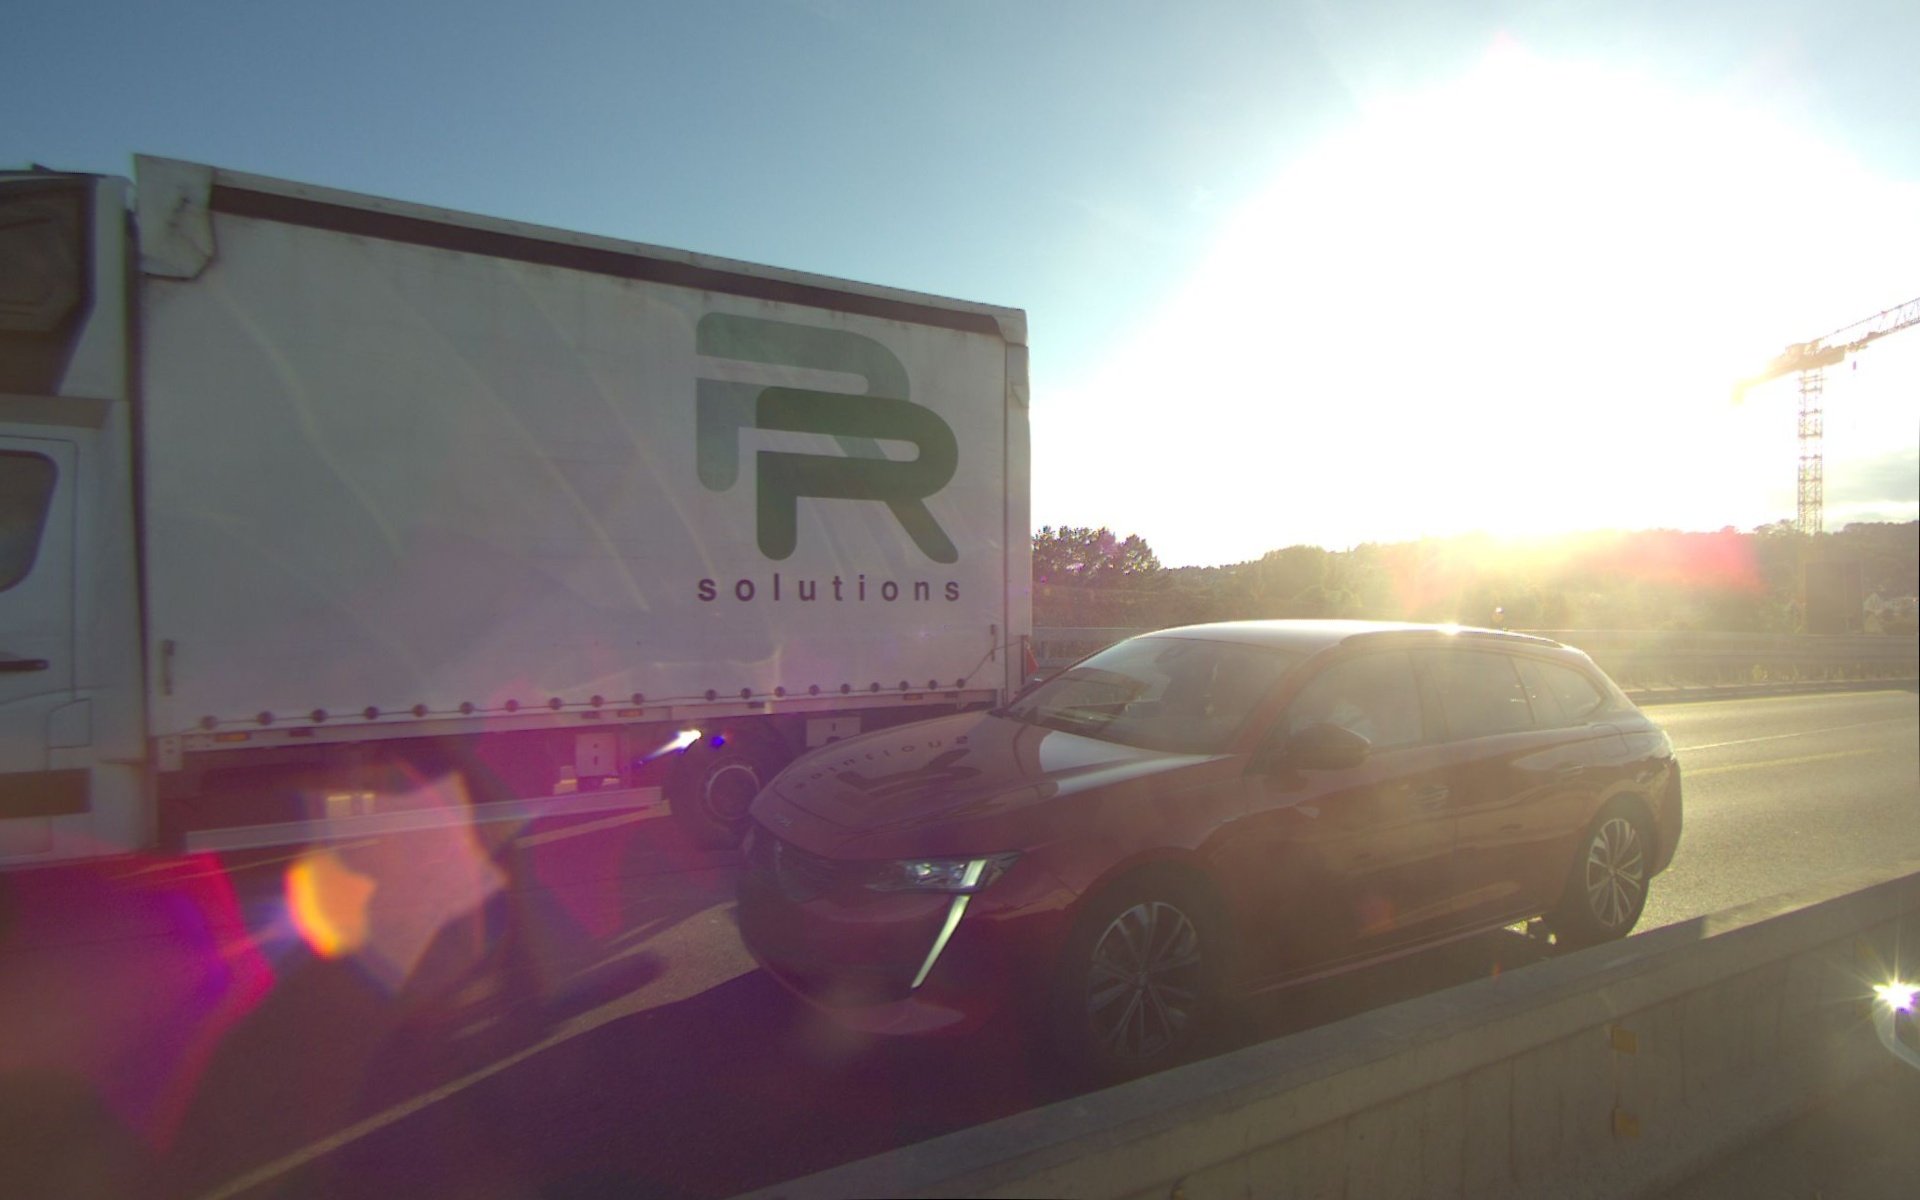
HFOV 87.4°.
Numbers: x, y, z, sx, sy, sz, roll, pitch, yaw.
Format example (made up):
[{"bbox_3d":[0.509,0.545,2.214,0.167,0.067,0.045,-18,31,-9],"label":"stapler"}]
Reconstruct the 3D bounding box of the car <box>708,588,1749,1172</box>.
[{"bbox_3d":[1.424,0.756,4.532,4.651,1.482,1.806,2,0,-31],"label":"car"}]

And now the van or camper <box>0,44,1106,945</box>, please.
[{"bbox_3d":[-2.810,-0.378,5.964,7.327,3.545,2.445,1,0,-31],"label":"van or camper"}]
